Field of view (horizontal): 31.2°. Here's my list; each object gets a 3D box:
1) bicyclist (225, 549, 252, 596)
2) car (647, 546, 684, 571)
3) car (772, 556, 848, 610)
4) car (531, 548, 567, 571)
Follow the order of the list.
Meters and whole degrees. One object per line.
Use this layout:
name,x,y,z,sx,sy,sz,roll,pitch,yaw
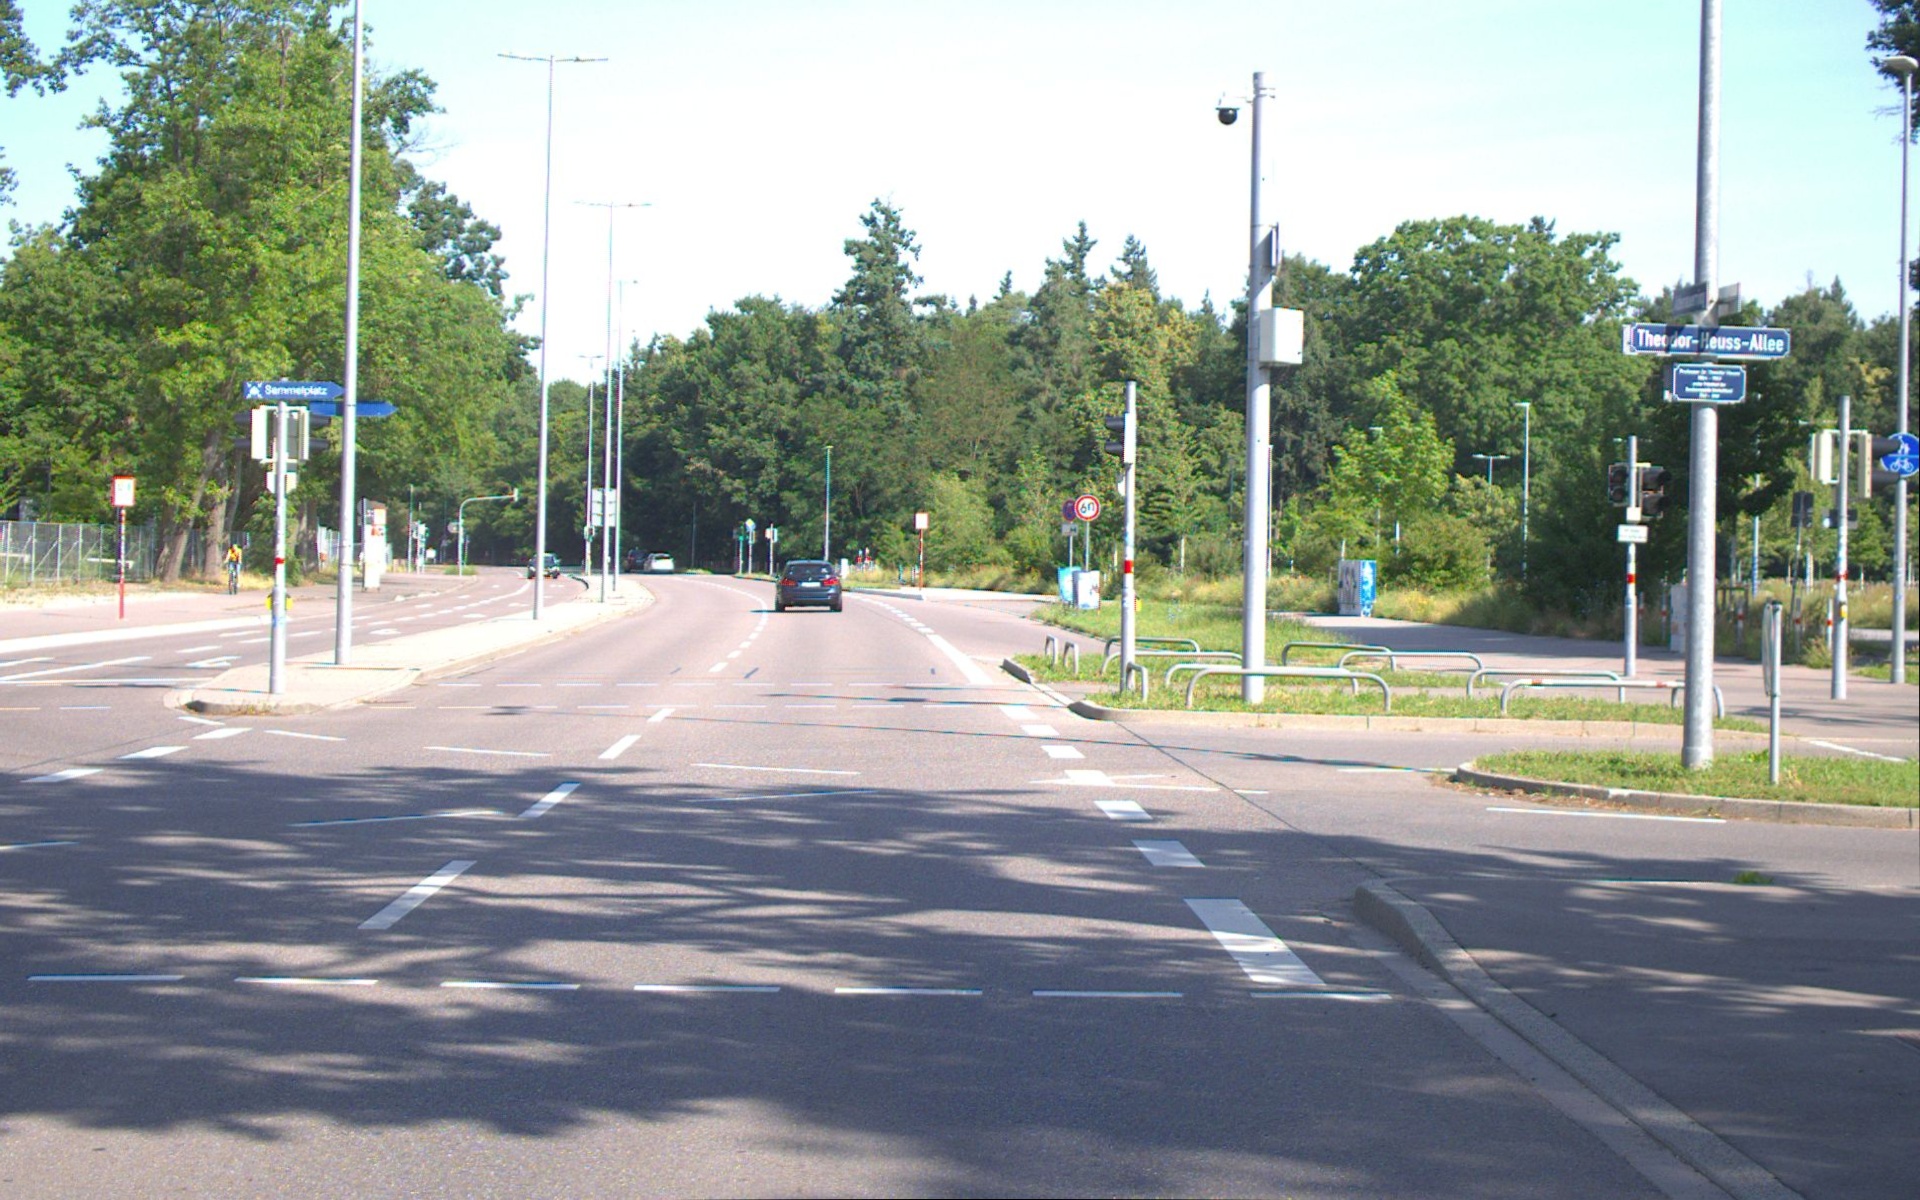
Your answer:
bicyclist,-23.107,-0.879,110.179,0.659,1.462,1.057,2,1,-5
car,-20.754,-2.918,242.351,1.993,1.744,4.001,1,0,-14
car,-4.185,-0.497,95.413,1.940,1.415,4.294,1,1,-4
car,-25.282,-2.498,211.569,1.810,1.383,4.163,-1,1,-12
